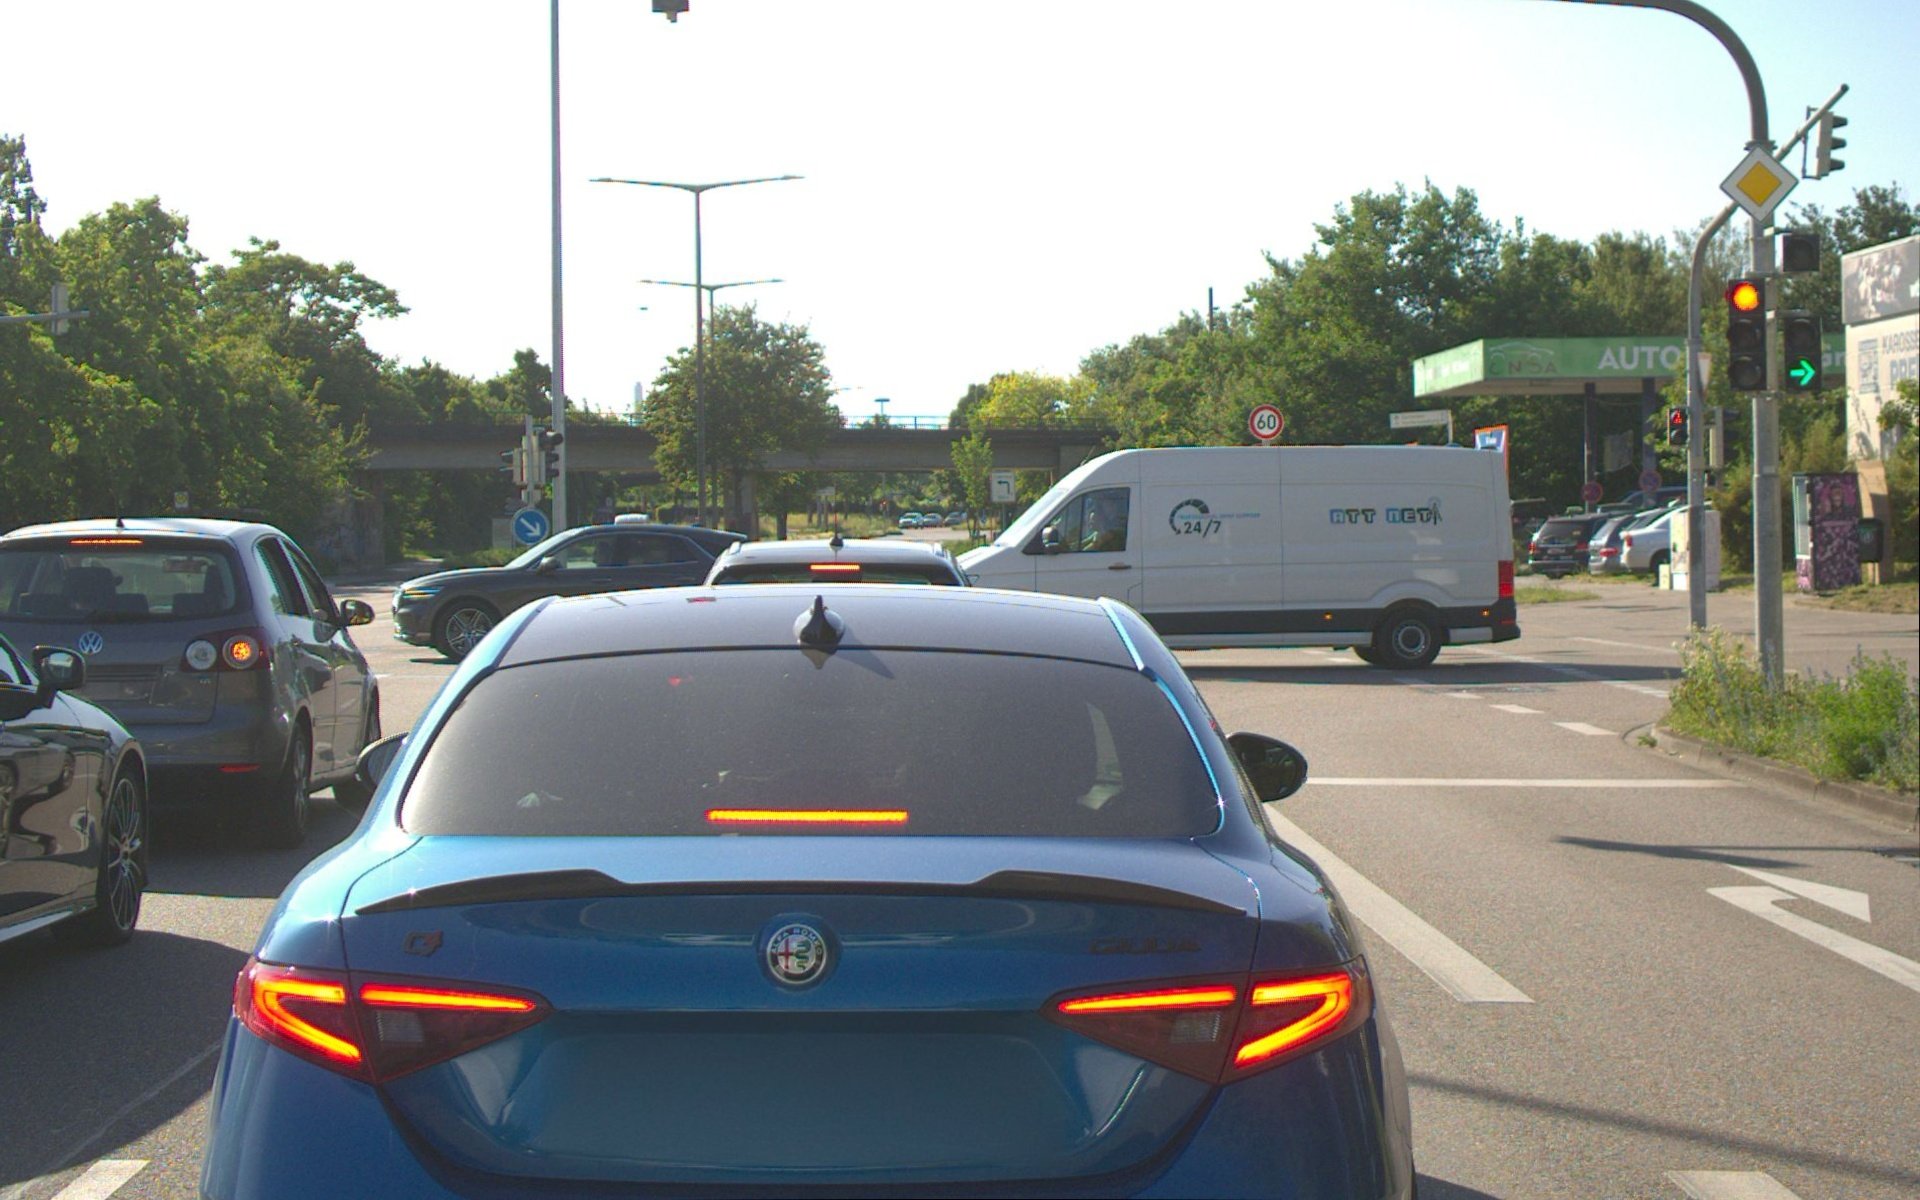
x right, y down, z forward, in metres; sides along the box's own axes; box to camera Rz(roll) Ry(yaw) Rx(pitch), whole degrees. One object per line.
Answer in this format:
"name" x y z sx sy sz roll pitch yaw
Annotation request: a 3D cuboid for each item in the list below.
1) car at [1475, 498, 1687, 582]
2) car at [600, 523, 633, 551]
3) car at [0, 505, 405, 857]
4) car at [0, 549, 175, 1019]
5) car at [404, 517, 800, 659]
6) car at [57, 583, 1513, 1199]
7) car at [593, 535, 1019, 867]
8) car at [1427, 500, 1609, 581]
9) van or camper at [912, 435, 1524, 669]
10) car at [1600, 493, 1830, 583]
"car" 12.821 -1.248 70.963 3.986 1.700 1.696 -1 1 -19
"car" -20.418 -3.755 204.565 1.822 1.688 3.837 0 1 -3
"car" -3.960 0.327 17.552 1.648 1.593 3.932 0 1 -1
"car" -3.805 0.567 10.640 1.768 1.409 4.461 0 1 -1
"car" -4.359 -0.170 41.586 4.597 1.647 2.001 0 1 -11
"car" -0.248 0.695 6.384 1.866 1.380 3.932 0 1 -1
"car" -0.699 0.409 17.078 1.866 1.445 3.932 0 1 -1
"car" 12.020 -1.286 74.153 3.483 1.700 1.696 -1 1 -16
"van or camper" 2.876 -0.564 39.349 6.731 2.563 2.185 0 1 -4
"car" 14.512 -1.194 66.107 3.986 1.700 1.696 -1 1 -16
